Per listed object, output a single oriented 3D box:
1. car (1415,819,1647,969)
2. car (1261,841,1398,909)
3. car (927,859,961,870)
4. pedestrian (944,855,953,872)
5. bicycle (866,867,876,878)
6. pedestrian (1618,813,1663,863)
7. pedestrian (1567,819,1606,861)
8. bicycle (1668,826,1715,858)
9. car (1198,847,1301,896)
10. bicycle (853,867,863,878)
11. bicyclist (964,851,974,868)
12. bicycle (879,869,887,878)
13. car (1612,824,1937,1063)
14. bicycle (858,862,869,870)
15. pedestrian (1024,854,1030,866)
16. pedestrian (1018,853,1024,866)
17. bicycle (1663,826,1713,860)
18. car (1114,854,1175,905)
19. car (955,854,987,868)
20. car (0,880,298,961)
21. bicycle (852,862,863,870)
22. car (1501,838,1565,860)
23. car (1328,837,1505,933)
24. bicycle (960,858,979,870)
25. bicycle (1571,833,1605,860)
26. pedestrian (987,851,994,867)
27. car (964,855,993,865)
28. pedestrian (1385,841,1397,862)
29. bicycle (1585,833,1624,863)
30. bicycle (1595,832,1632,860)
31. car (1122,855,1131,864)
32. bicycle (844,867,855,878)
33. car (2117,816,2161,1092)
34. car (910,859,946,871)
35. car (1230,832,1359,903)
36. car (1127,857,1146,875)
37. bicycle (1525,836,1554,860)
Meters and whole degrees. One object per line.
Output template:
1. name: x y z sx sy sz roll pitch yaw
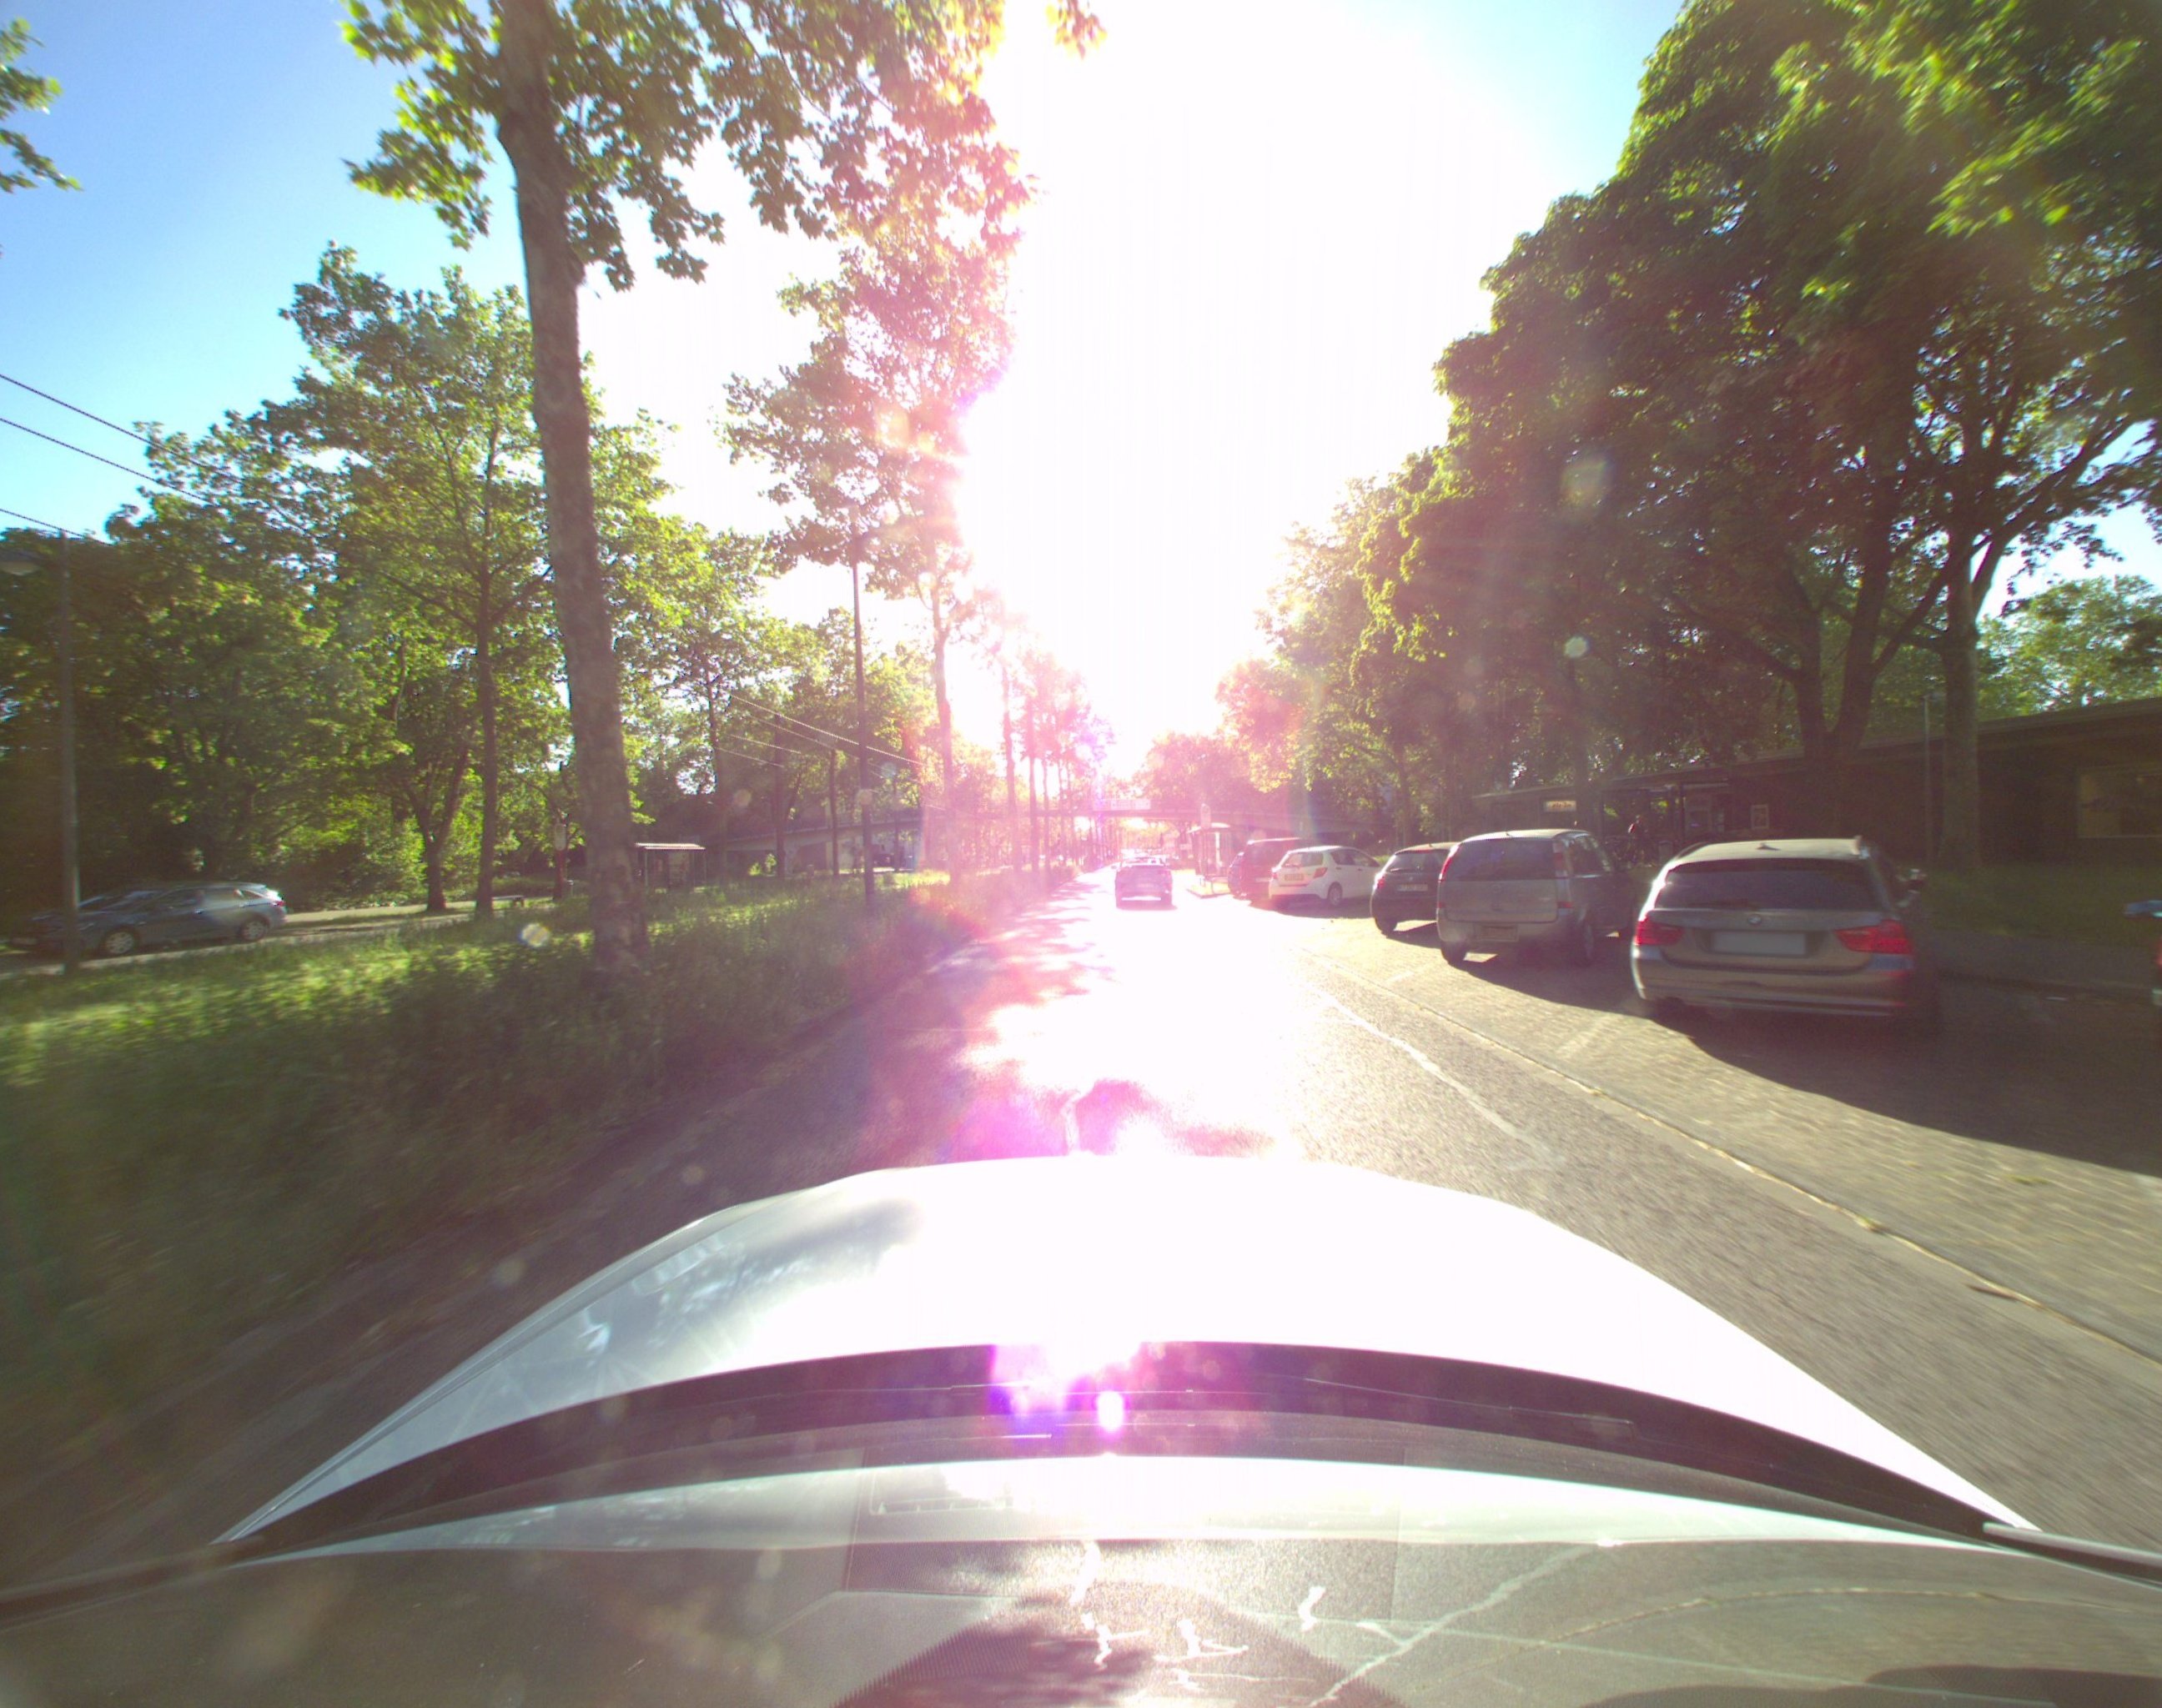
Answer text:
1. car: 6.122 0.419 10.889 1.679 1.590 3.745 -4 0 45
2. car: 6.456 0.512 21.013 3.647 1.495 1.662 -3 0 -42
3. car: -18.586 1.402 110.261 4.217 1.428 1.682 0 1 -35
4. pedestrian: -13.233 0.963 81.198 0.722 1.674 1.048 0 -1 0
5. bicycle: -20.048 1.757 77.809 0.432 1.009 1.688 0 0 4
6. pedestrian: 21.386 -0.603 31.135 0.963 1.840 0.951 -2 -1 -6
7. pedestrian: 21.232 -0.596 34.191 1.126 1.708 0.731 -2 -1 -6
8. bicycle: 24.616 -0.481 32.879 0.573 1.253 1.807 0 -1 2
9. car: 5.938 0.578 28.449 3.851 1.472 1.500 -3 0 -43
10. bicycle: -21.445 1.772 78.363 0.432 1.009 1.688 0 0 4
11. bicyclist: -11.025 0.522 80.091 0.951 1.632 0.814 0 0 -3
12. bicycle: -18.862 1.843 77.556 0.432 0.779 1.175 0 0 4
13. car: 6.169 0.538 7.098 4.111 1.403 1.665 -4 0 -44
14. bicycle: -29.884 1.646 111.919 0.693 0.928 2.596 0 1 1
15. pedestrian: -6.967 0.717 104.764 0.679 1.514 0.645 -3 -1 4
16. pedestrian: -7.797 0.697 105.832 0.710 1.634 0.732 -3 -1 4
17. bicycle: 22.967 -0.409 30.848 0.573 1.253 1.807 0 -1 2
18. car: 1.952 0.748 26.184 1.769 1.483 4.102 0 0 2
19. car: -17.030 1.099 126.246 4.519 2.063 1.880 0 1 -35
20. car: -21.639 1.438 19.099 1.890 1.488 4.630 2 0 3
21. bicycle: -30.719 1.653 111.968 0.693 0.928 2.596 0 1 1
22. car: 33.237 -0.367 59.948 3.970 1.495 1.664 -1 2 -8
23. car: 6.264 0.511 15.015 1.661 1.458 3.768 -4 0 44
24. bicycle: -10.972 0.992 80.075 1.827 1.147 0.814 0 0 -4
25. bicycle: 24.569 -0.350 39.479 0.573 1.253 1.807 0 -1 2
26. pedestrian: -10.019 0.552 90.175 0.506 1.770 0.478 0 -1 -37
27. car: -16.978 1.024 135.265 4.526 1.504 1.877 -1 1 -45
28. pedestrian: 26.414 -0.224 69.447 0.657 1.777 0.738 -2 1 -6
29. bicycle: 22.976 -0.255 35.765 0.573 1.253 1.807 0 -1 2
30. bicycle: 24.443 -0.366 37.403 0.573 1.253 1.807 0 -1 2
31. car: 9.182 1.110 163.993 1.703 1.603 3.352 -1 -1 3
32. bicycle: -21.927 1.766 77.252 0.432 1.009 1.688 0 0 4
33. car: 6.062 0.521 3.536 3.595 1.420 1.691 -4 -1 -41
34. car: -19.502 1.351 103.773 4.217 1.428 1.682 0 1 -35
35. car: 6.456 0.375 24.392 3.973 1.842 1.747 -3 0 -42
36. car: 5.877 1.269 85.841 1.973 1.792 4.619 0 -1 4
37. bicycle: 24.450 -0.317 43.482 0.573 1.253 1.807 0 -1 2
